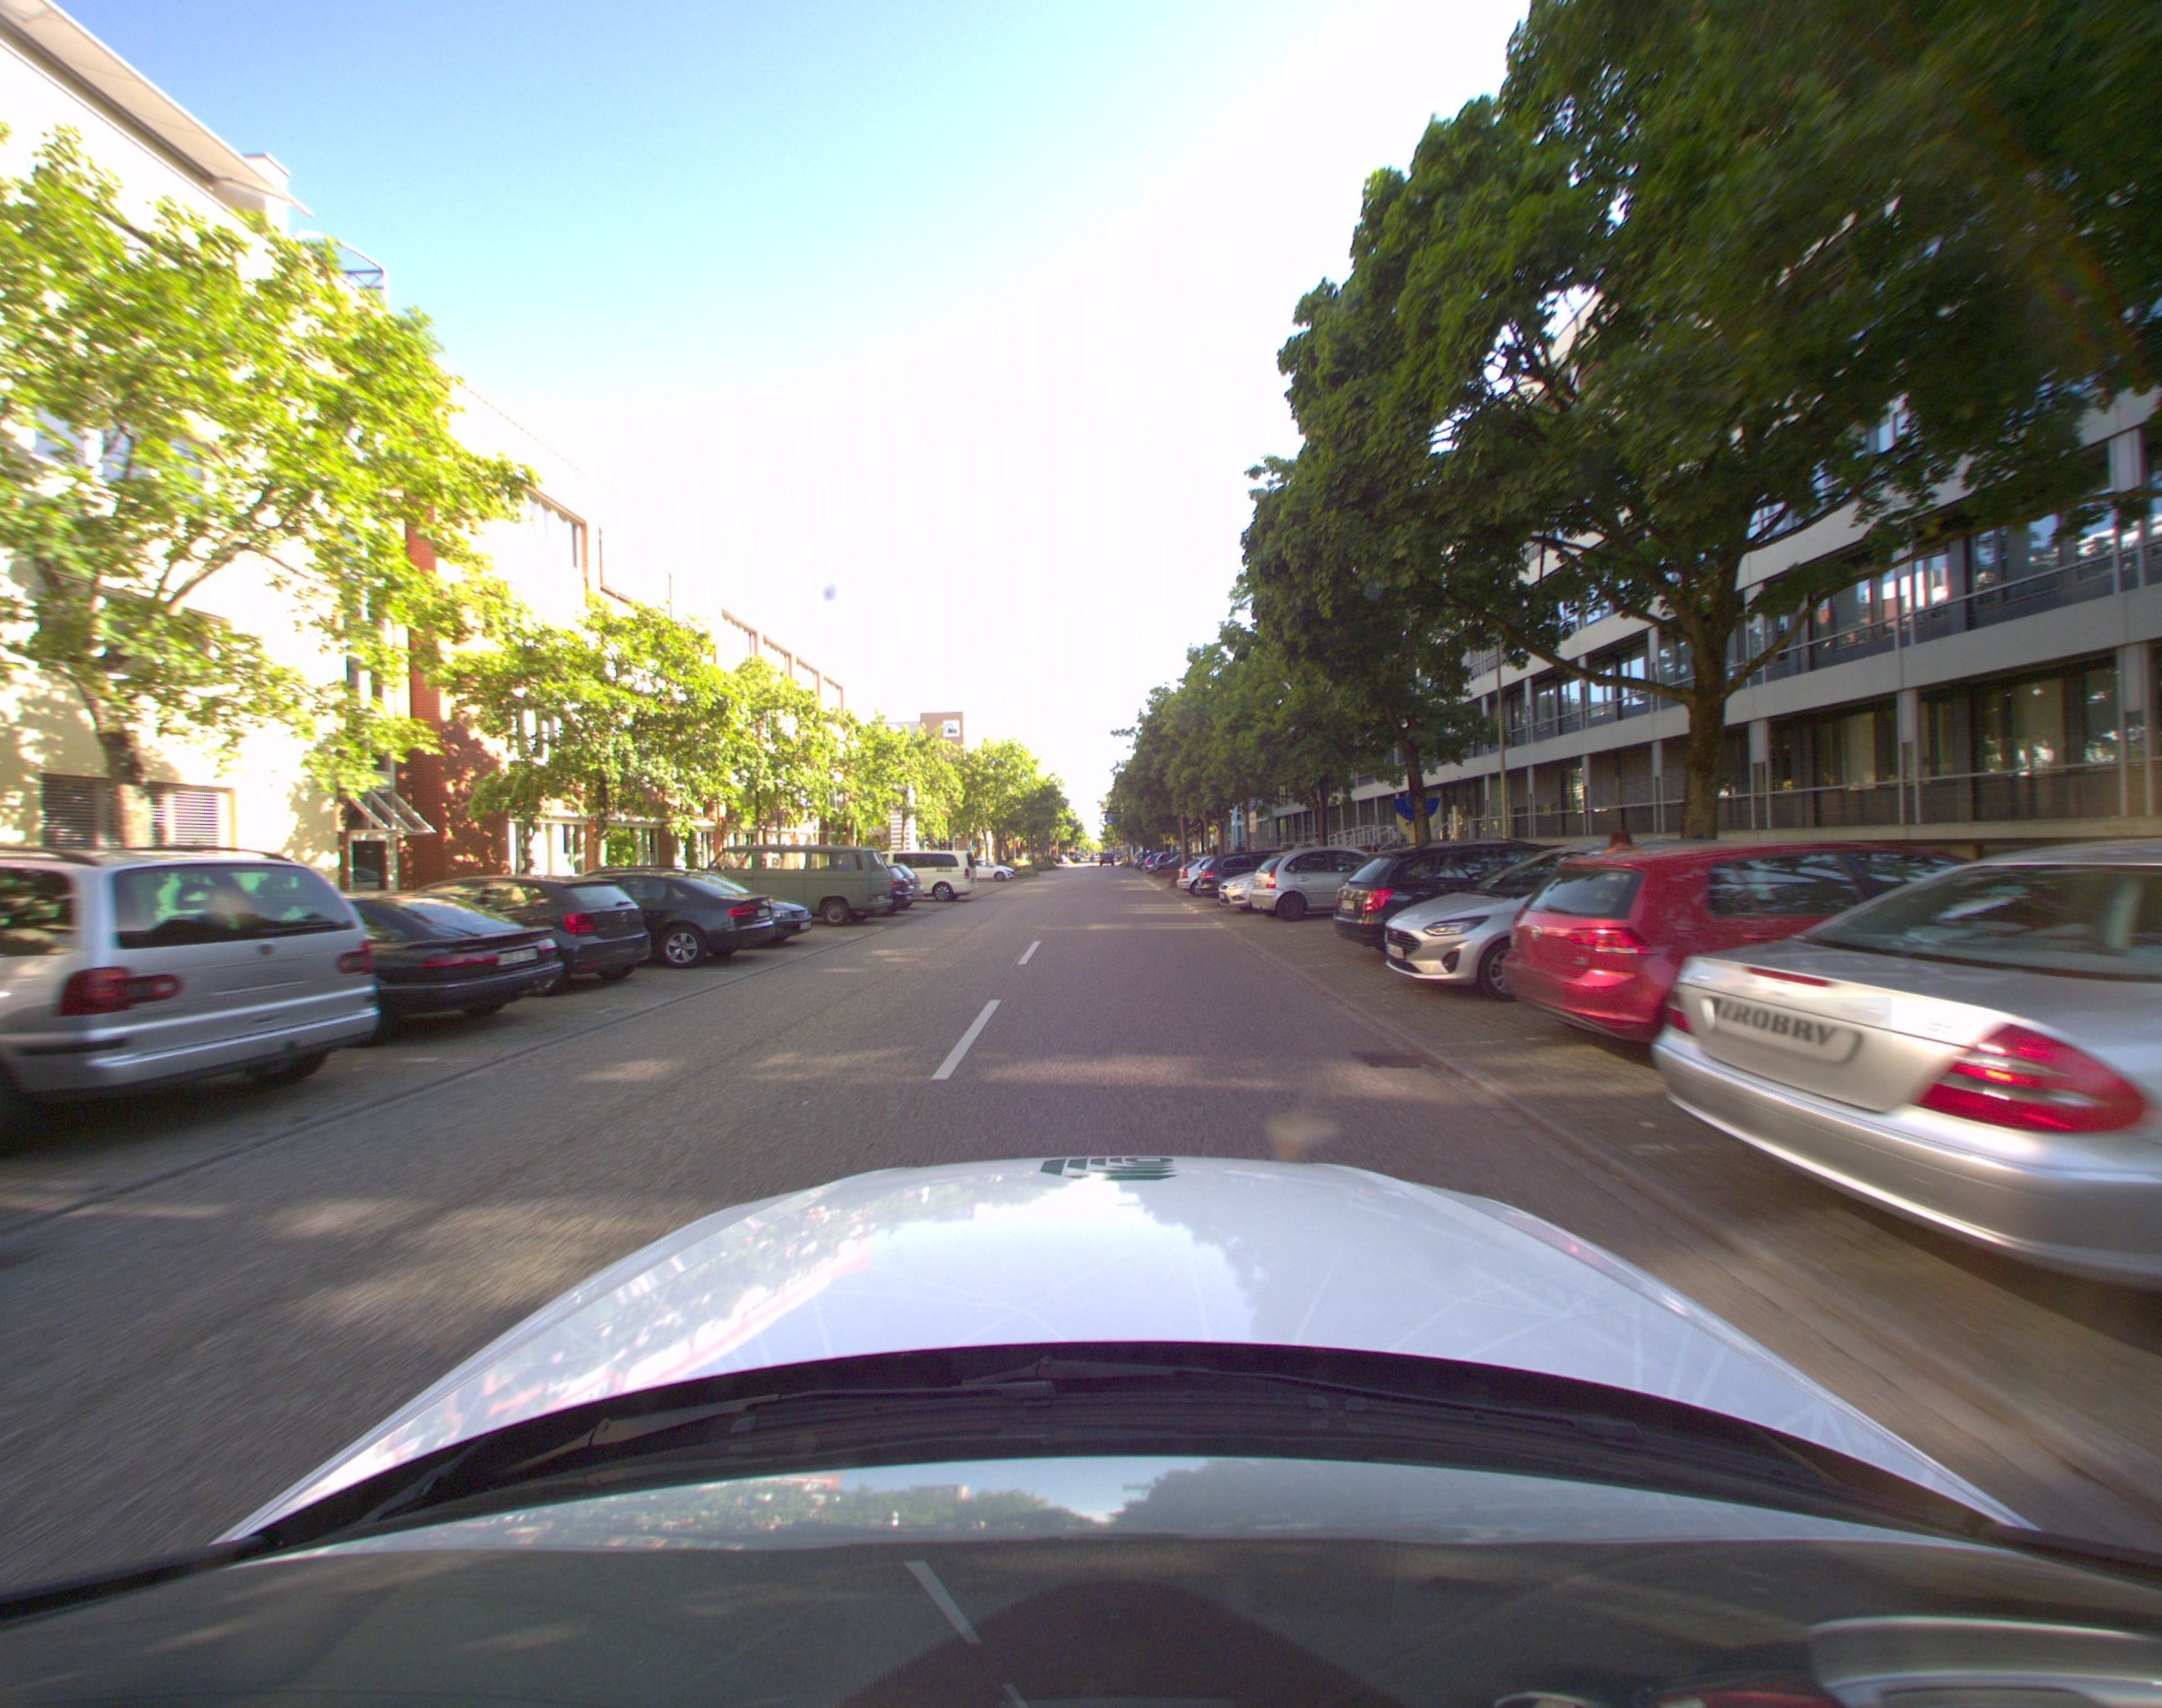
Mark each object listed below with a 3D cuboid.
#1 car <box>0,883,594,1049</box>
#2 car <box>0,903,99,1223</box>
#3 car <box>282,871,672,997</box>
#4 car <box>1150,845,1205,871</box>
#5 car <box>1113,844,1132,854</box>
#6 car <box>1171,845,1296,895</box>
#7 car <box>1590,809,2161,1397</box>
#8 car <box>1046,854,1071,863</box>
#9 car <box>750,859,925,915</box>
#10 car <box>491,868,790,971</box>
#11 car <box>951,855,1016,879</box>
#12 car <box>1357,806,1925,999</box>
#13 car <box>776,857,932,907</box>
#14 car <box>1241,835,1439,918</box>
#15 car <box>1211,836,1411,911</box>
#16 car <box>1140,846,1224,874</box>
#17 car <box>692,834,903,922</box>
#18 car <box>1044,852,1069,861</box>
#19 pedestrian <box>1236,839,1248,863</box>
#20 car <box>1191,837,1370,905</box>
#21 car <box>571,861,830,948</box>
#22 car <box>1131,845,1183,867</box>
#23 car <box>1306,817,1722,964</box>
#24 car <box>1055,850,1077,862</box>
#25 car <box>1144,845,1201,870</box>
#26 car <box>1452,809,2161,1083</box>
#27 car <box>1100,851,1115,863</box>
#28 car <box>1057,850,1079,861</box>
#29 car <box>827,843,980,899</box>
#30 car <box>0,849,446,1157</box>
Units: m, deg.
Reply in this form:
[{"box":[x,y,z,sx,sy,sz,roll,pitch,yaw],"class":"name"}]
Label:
[{"box":[-7.461,1.004,7.965,4.306,1.358,1.757,0,0,0],"class":"car"},{"box":[-7.110,0.974,3.150,4.389,1.427,1.772,0,0,-1],"class":"car"},{"box":[-7.573,0.969,10.493,3.713,1.427,1.725,0,0,0],"class":"car"},{"box":[6.606,0.267,56.039,3.627,1.514,1.814,-4,0,2],"class":"car"},{"box":[8.990,-1.139,176.220,3.975,2.013,1.999,-2,0,-1],"class":"car"},{"box":[5.219,0.529,28.192,3.958,1.420,1.710,-4,0,-1],"class":"car"},{"box":[4.727,0.553,2.975,4.560,1.475,1.748,-4,0,2],"class":"car"},{"box":[-3.684,0.729,132.887,3.842,1.473,1.810,0,0,-5],"class":"car"},{"box":[-6.784,0.904,23.006,4.302,1.477,1.945,0,0,3],"class":"car"},{"box":[-6.741,0.961,12.812,3.719,1.427,1.722,0,0,-5],"class":"car"},{"box":[-6.272,0.814,52.778,3.974,1.486,1.807,-1,0,0],"class":"car"},{"box":[5.471,0.469,8.532,4.493,1.542,1.925,-4,0,5],"class":"car"},{"box":[-7.088,0.863,25.737,4.302,1.477,1.945,0,0,3],"class":"car"},{"box":[5.566,0.457,17.765,3.733,1.493,1.616,-4,0,-2],"class":"car"},{"box":[5.528,0.454,19.992,4.273,1.493,2.003,-4,0,-1],"class":"car"},{"box":[6.170,0.355,50.141,4.810,1.420,2.031,-4,0,-1],"class":"car"},{"box":[-6.959,0.572,20.325,4.469,2.090,2.085,0,0,3],"class":"car"},{"box":[-3.916,0.357,127.596,3.842,1.473,1.810,0,0,-5],"class":"car"},{"box":[11.882,-0.201,60.269,0.605,1.745,1.191,-2,0,1],"class":"pedestrian"},{"box":[5.525,0.461,22.967,4.575,1.493,1.763,-4,0,1],"class":"car"},{"box":[-7.145,0.919,15.573,4.117,1.528,1.726,0,0,1],"class":"car"},{"box":[6.791,0.158,72.790,4.339,1.704,1.811,-4,0,-2],"class":"car"},{"box":[5.522,0.460,10.944,4.493,1.542,1.925,-4,0,5],"class":"car"},{"box":[-2.877,0.417,154.810,3.967,2.013,2.003,-2,0,5],"class":"car"},{"box":[6.535,0.228,58.612,3.933,1.514,1.814,-4,0,2],"class":"car"},{"box":[4.993,0.552,5.788,3.819,1.447,1.925,-4,0,5],"class":"car"},{"box":[3.680,0.384,113.166,1.986,1.640,4.001,0,0,1],"class":"car"},{"box":[-2.514,0.236,158.007,3.967,2.013,2.003,-2,0,5],"class":"car"},{"box":[-6.508,0.608,30.284,5.239,1.967,1.943,0,0,1],"class":"car"},{"box":[-7.271,0.835,5.595,4.303,1.717,1.964,0,0,2],"class":"car"}]
